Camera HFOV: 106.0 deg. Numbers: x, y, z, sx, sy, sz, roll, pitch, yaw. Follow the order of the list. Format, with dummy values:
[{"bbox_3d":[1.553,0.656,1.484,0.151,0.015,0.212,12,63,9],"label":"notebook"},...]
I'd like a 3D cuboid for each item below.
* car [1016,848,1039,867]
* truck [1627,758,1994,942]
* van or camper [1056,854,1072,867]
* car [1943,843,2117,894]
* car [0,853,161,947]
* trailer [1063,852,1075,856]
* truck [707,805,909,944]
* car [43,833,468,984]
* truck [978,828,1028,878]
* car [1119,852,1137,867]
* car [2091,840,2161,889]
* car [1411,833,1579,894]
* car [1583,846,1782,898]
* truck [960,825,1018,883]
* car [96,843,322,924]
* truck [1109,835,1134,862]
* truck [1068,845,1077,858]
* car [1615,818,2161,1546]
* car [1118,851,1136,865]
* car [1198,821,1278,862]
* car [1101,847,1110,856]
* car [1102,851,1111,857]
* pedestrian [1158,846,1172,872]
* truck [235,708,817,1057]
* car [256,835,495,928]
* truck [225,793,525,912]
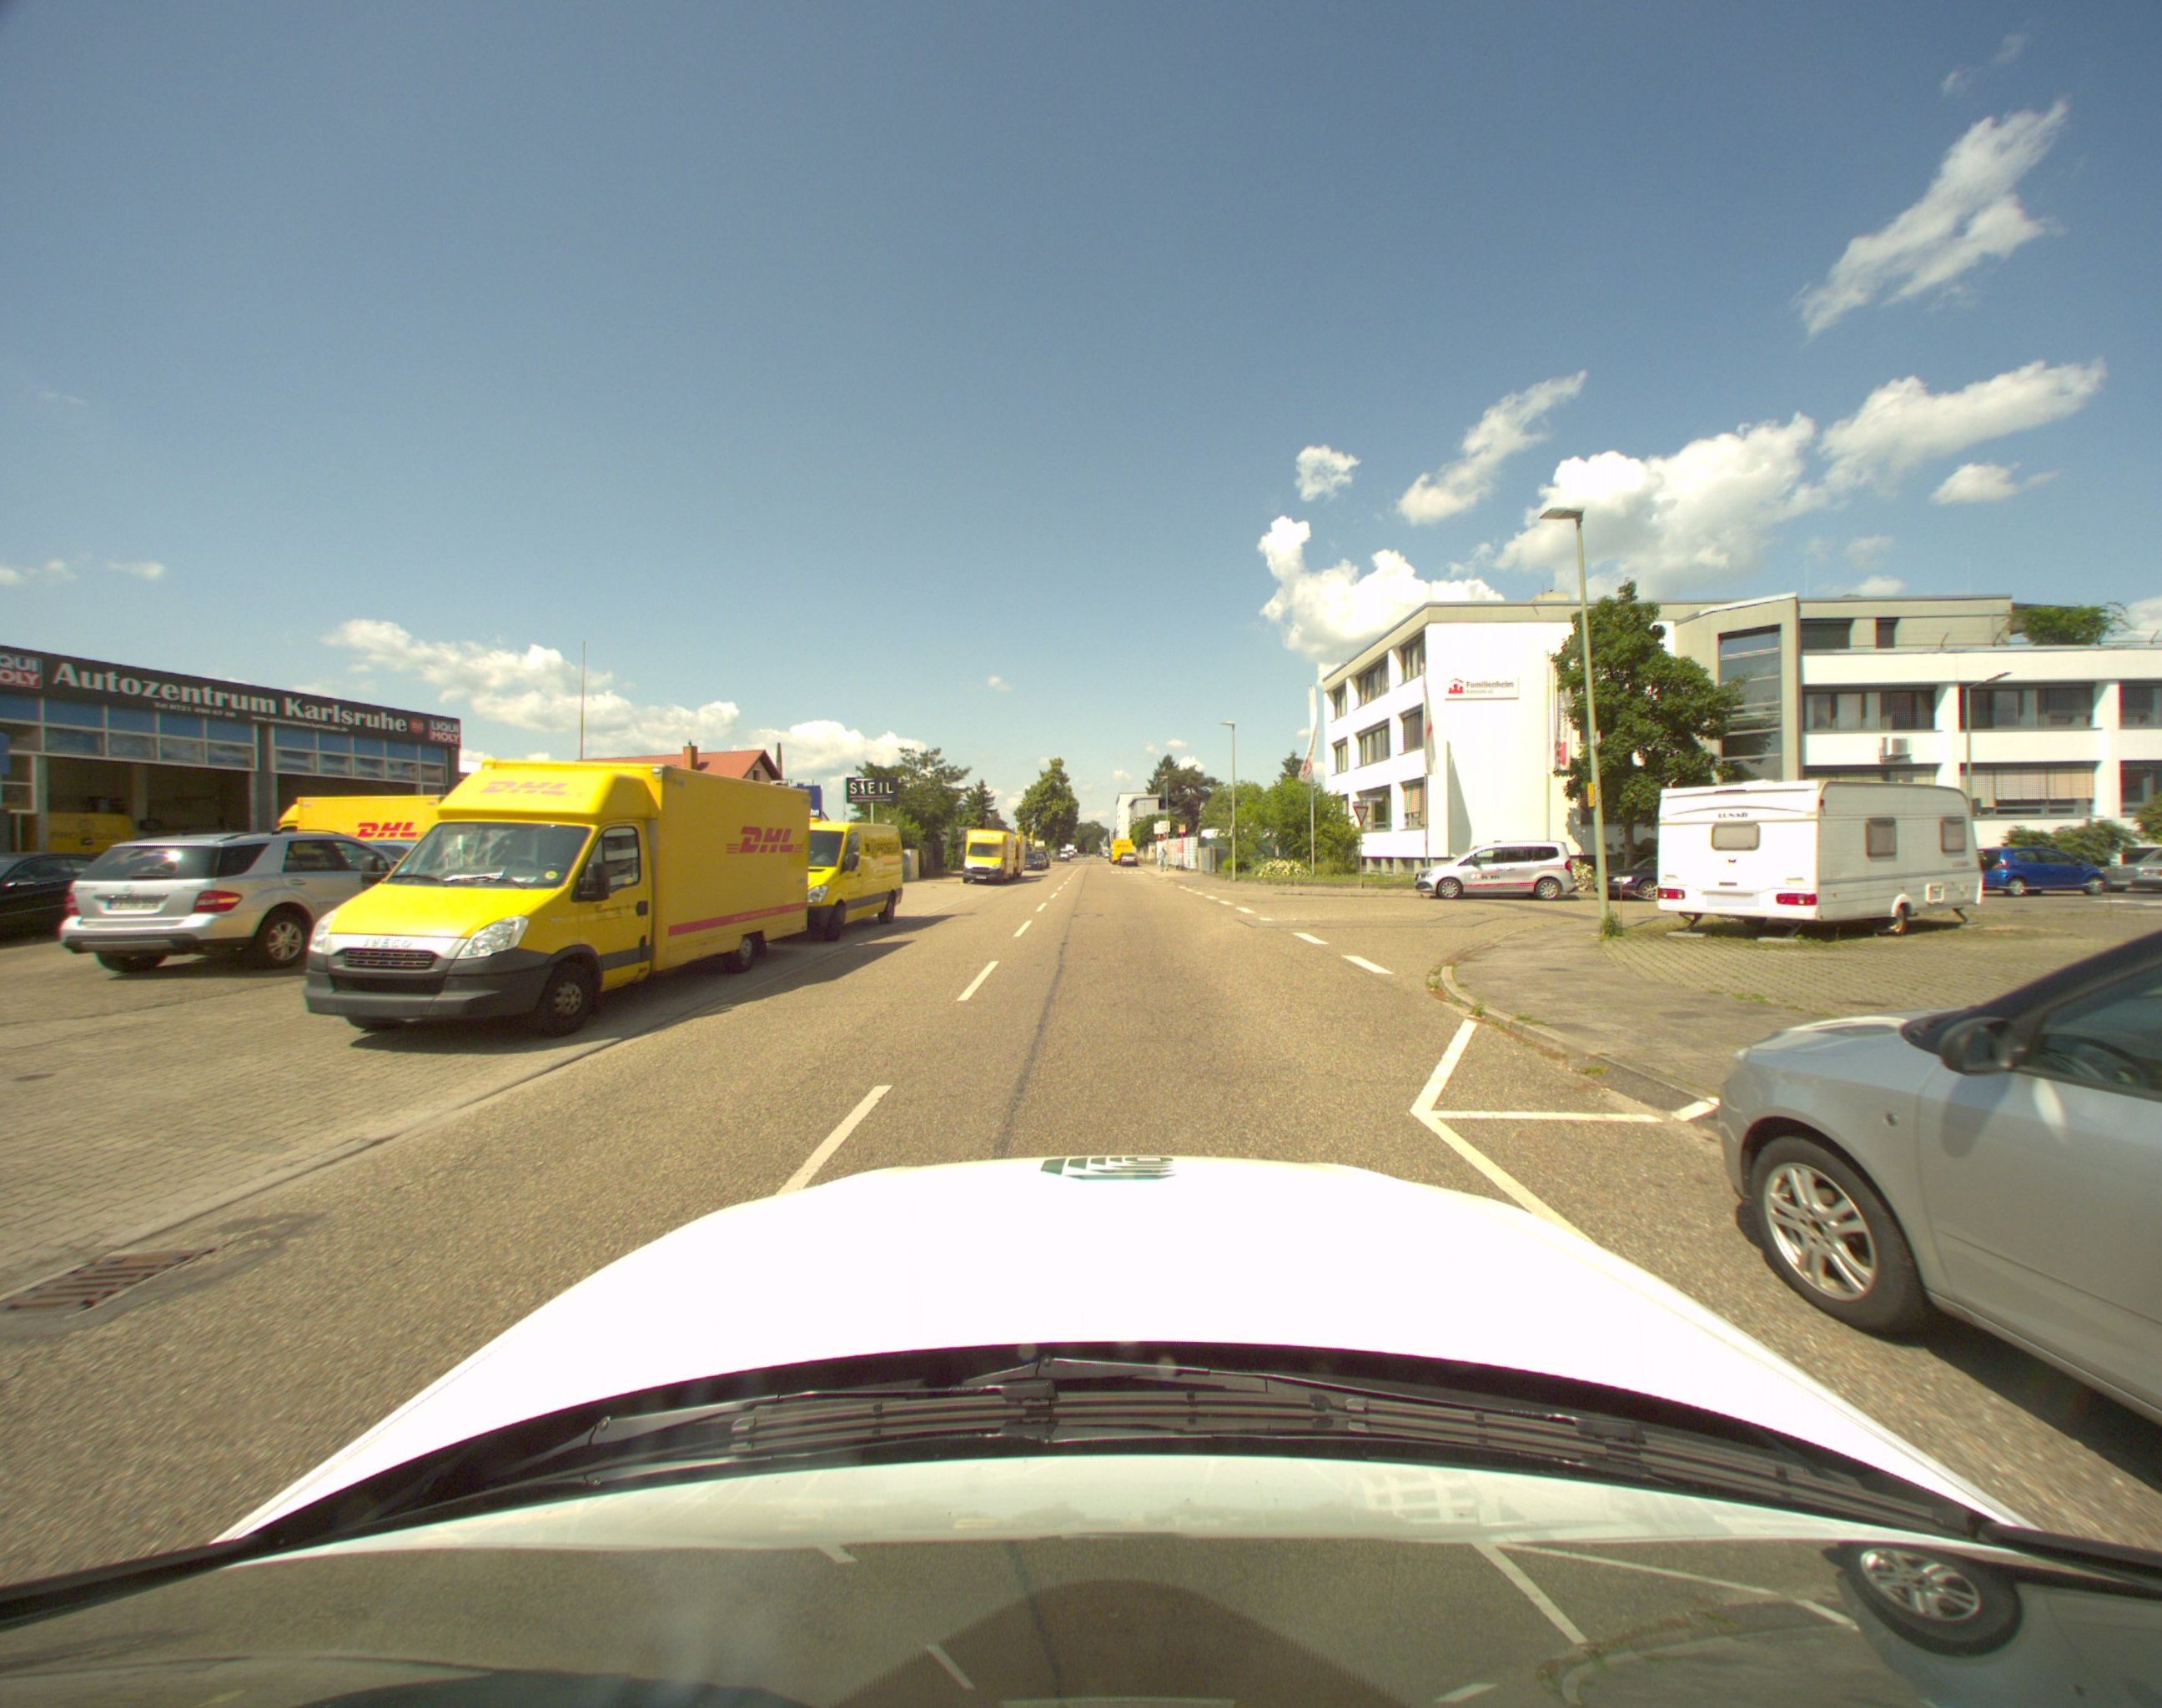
[{"bbox_3d":[-4.621,0.297,71.336,1.719,1.604,4.412,2,0,-1],"label":"car"},{"bbox_3d":[12.442,-0.086,13.846,6.070,2.577,2.545,-1,0,-26],"label":"truck"},{"bbox_3d":[-3.185,1.183,153.314,2.164,2.413,7.706,-1,0,4],"label":"van or camper"},{"bbox_3d":[27.954,0.403,24.067,3.344,1.398,1.616,-1,0,-1],"label":"car"},{"bbox_3d":[-17.599,0.760,13.041,1.671,1.287,3.993,-1,4,-12],"label":"car"},{"bbox_3d":[-2.712,-0.033,184.250,2.408,0.813,5.538,1,0,1],"label":"trailer"},{"bbox_3d":[-5.427,0.349,17.291,1.986,2.413,6.068,-1,0,2],"label":"truck"},{"bbox_3d":[-11.512,0.575,11.997,1.827,1.705,4.696,-1,2,-8],"label":"car"},{"bbox_3d":[-4.828,-0.077,51.696,2.308,2.862,7.105,2,0,1],"label":"truck"},{"bbox_3d":[4.752,0.552,82.275,1.646,1.386,4.424,0,1,1],"label":"car"},{"bbox_3d":[32.975,0.268,24.131,4.229,1.398,1.616,-1,0,-2],"label":"car"},{"bbox_3d":[12.632,0.342,25.172,4.359,1.752,1.873,-1,-2,19],"label":"car"},{"bbox_3d":[17.672,0.512,24.059,4.598,1.427,1.759,-1,0,0],"label":"car"},{"bbox_3d":[-4.827,0.026,43.890,2.261,2.855,7.173,0,0,0],"label":"truck"},{"bbox_3d":[-19.877,0.654,18.626,3.817,1.731,1.738,-1,0,11],"label":"car"},{"bbox_3d":[4.597,-0.653,93.922,2.467,2.940,7.187,0,0,0],"label":"truck"},{"bbox_3d":[-2.087,-0.648,198.473,2.022,3.154,6.501,-1,0,1],"label":"truck"},{"bbox_3d":[3.153,0.719,1.693,1.604,1.580,4.003,0,0,2],"label":"car"},{"bbox_3d":[4.901,0.431,87.068,1.657,1.441,4.282,-1,0,-1],"label":"car"},{"bbox_3d":[10.543,-0.815,54.995,4.902,2.652,2.068,-1,0,-7],"label":"car"},{"bbox_3d":[5.974,-0.636,199.807,2.208,2.013,5.486,-1,0,1],"label":"car"},{"bbox_3d":[5.790,0.083,186.515,1.921,1.310,4.001,-1,0,1],"label":"car"},{"bbox_3d":[5.865,0.350,56.803,0.714,1.697,0.522,-6,0,-4],"label":"pedestrian"},{"bbox_3d":[-5.763,0.210,10.286,2.211,2.857,7.074,1,0,3],"label":"truck"},{"bbox_3d":[-15.327,0.537,17.788,3.904,1.810,1.861,1,1,10],"label":"car"},{"bbox_3d":[-18.497,-0.003,21.434,6.551,2.850,2.538,-1,0,13],"label":"truck"}]
